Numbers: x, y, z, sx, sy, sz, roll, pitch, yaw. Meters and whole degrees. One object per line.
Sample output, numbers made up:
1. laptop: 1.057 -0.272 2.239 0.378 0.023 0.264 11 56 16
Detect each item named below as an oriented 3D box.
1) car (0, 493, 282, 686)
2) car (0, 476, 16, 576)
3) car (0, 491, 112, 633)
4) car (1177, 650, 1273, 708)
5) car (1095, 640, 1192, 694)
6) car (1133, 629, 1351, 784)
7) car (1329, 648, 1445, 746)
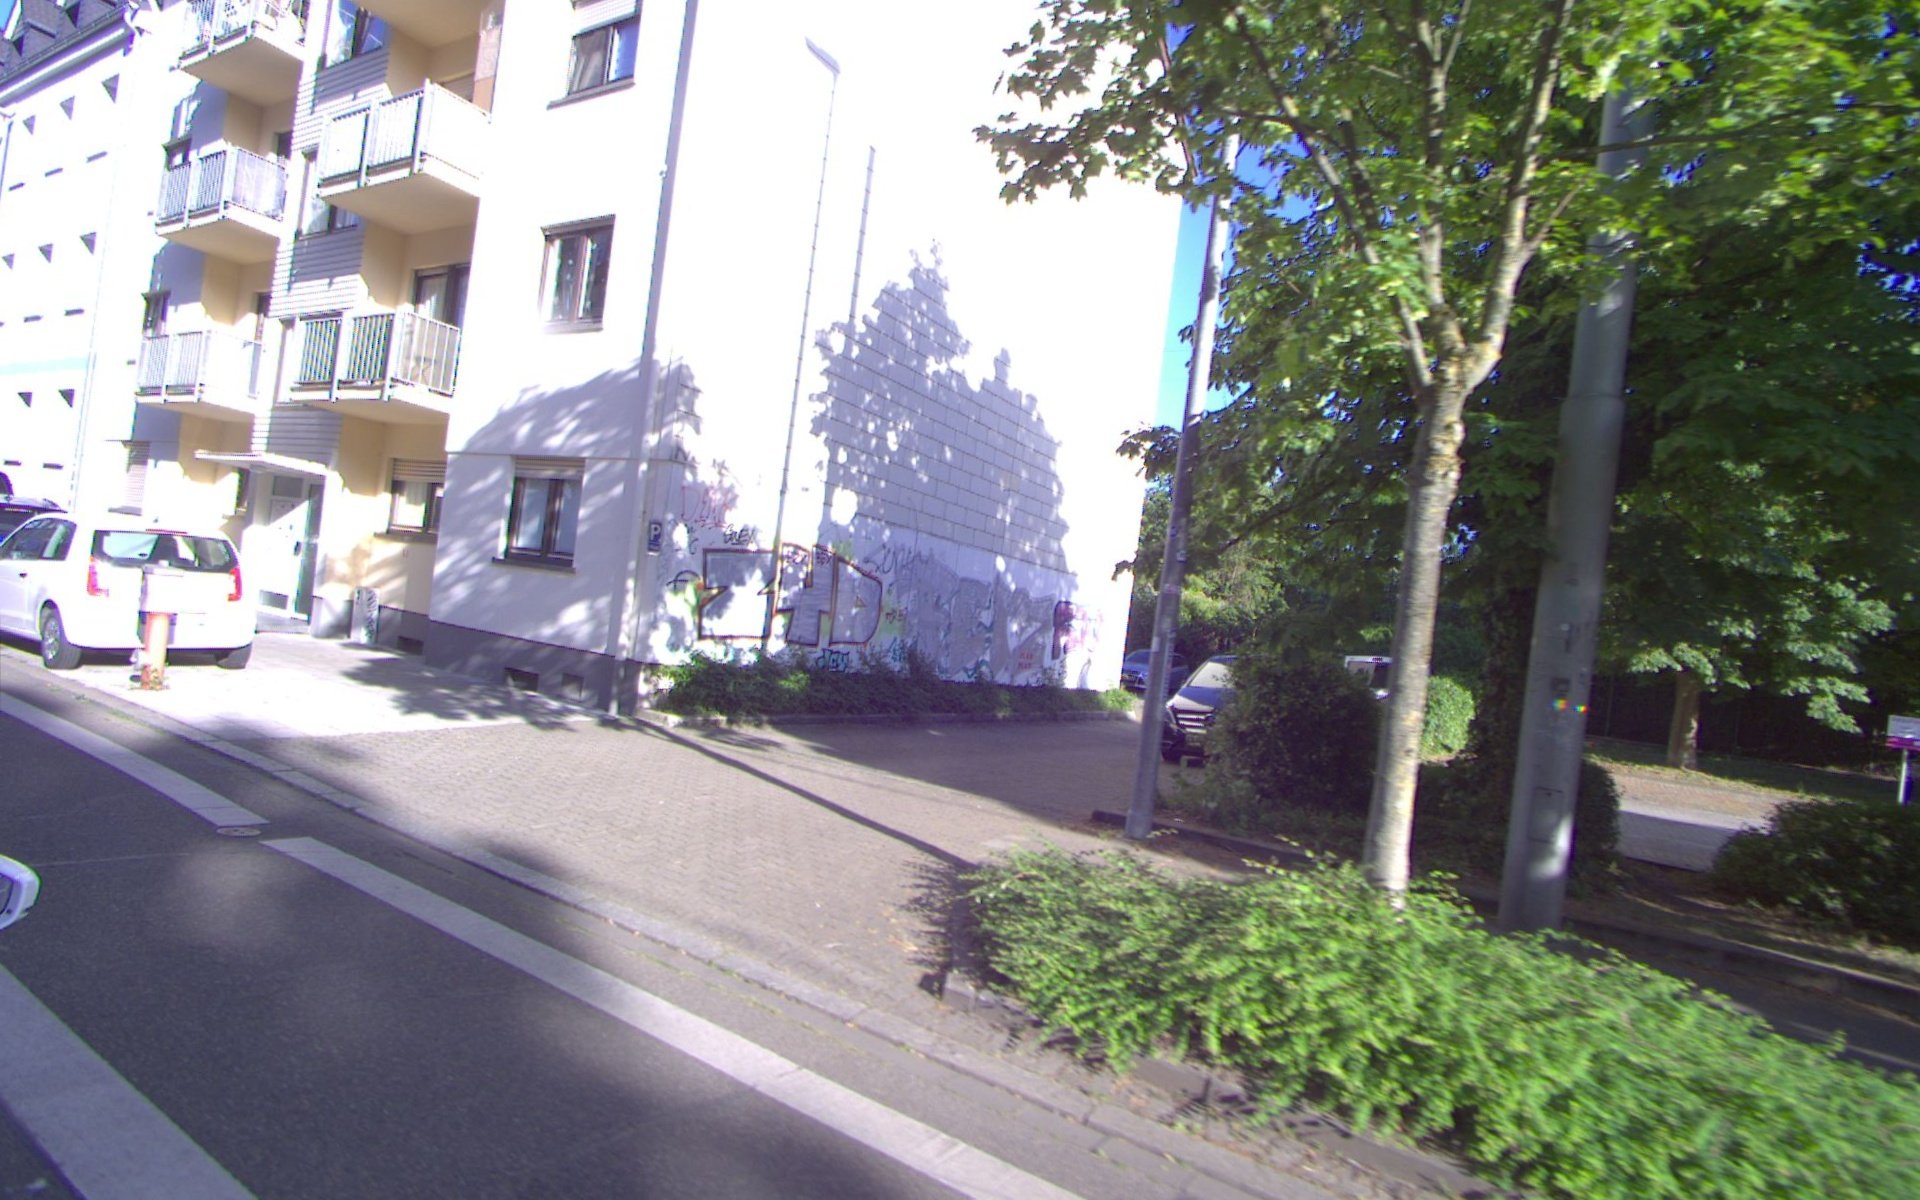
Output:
1. car: -9.085 -0.158 10.741 3.441 1.589 1.659 7 -3 32
2. car: -16.967 -1.209 15.919 4.587 1.966 1.659 7 -2 32
3. car: -12.909 -0.654 13.081 3.812 1.589 1.659 7 -3 32
4. car: 8.584 2.561 32.373 1.863 1.503 3.994 7 -1 30
5. car: 6.284 2.312 34.154 1.863 1.503 3.994 7 -1 30
6. car: 4.139 1.524 14.242 1.861 1.642 4.161 7 -3 30
7. car: 10.951 2.511 25.554 1.966 2.005 4.829 7 -3 30
